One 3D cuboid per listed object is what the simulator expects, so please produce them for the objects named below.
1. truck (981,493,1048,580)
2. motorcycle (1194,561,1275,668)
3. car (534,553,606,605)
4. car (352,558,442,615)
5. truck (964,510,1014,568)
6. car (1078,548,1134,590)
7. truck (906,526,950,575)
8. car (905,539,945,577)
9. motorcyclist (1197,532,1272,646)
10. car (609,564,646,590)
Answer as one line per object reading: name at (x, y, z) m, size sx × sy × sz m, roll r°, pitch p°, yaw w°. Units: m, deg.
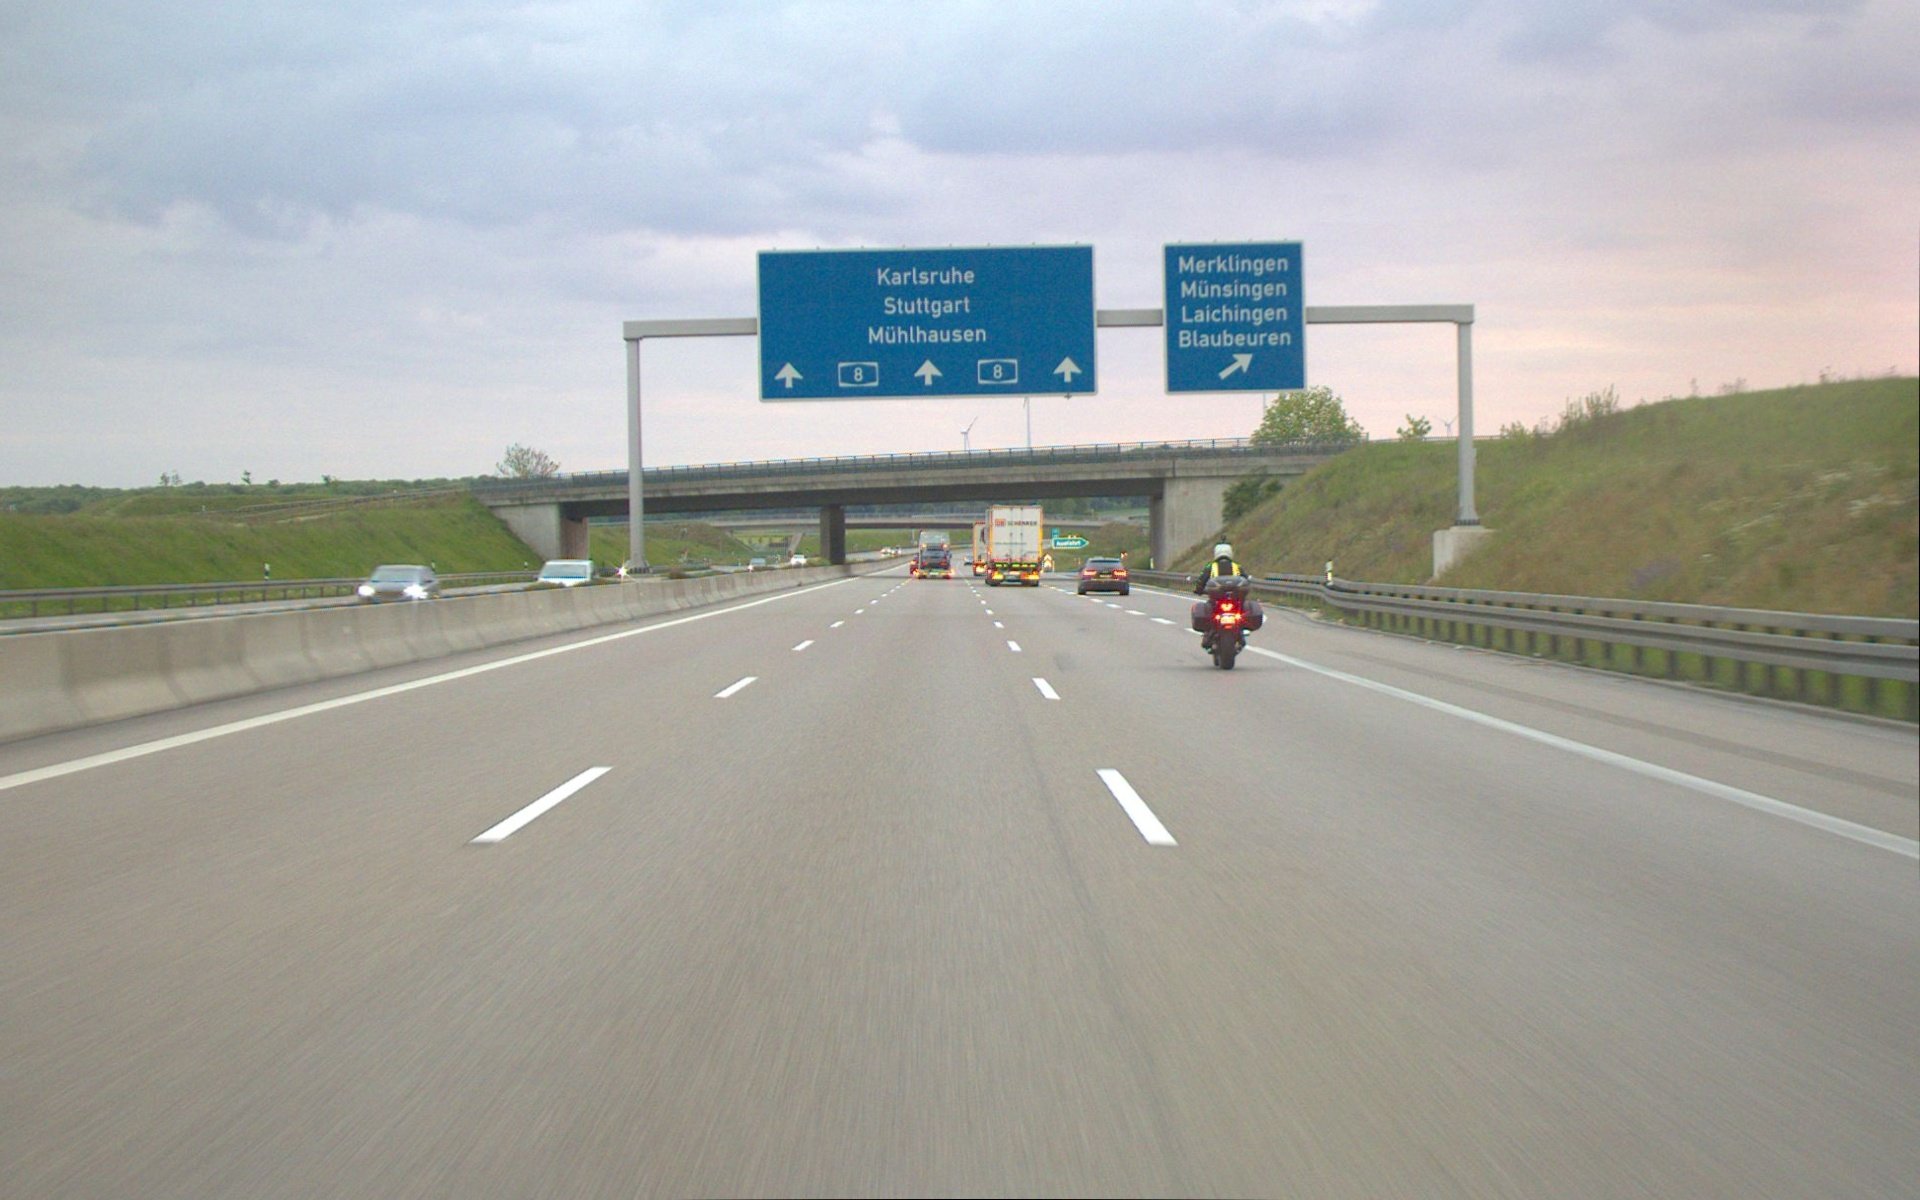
truck at (2.693, -3.246, 173.428) m, size 3.234 × 4.213 × 9.599 m, roll 1°, pitch 1°, yaw 0°
motorcycle at (3.656, 0.177, 45.996) m, size 0.902 × 1.342 × 2.349 m, roll 0°, pitch 2°, yaw 0°
car at (-12.413, -0.701, 109.560) m, size 1.749 × 1.592 × 4.643 m, roll 1°, pitch 1°, yaw 0°
car at (-16.296, -0.418, 99.712) m, size 2.002 × 1.582 × 4.573 m, roll 0°, pitch 1°, yaw -2°
truck at (2.174, -4.659, 261.498) m, size 3.525 × 4.330 × 8.406 m, roll 1°, pitch 1°, yaw -1°
car at (5.611, -1.203, 132.672) m, size 1.918 × 1.574 × 4.000 m, roll 0°, pitch 1°, yaw -1°
truck at (-2.219, -3.416, 236.357) m, size 2.951 × 3.206 × 8.406 m, roll 1°, pitch 1°, yaw -1°
car at (-2.259, -2.725, 220.210) m, size 2.516 × 2.383 × 6.497 m, roll 0°, pitch 1°, yaw -1°
motorcyclist at (3.652, -0.154, 45.828) m, size 0.865 × 1.482 × 1.168 m, roll 1°, pitch 1°, yaw 0°
car at (-21.381, -1.465, 221.383) m, size 1.993 × 1.597 × 5.200 m, roll 1°, pitch 0°, yaw -1°
